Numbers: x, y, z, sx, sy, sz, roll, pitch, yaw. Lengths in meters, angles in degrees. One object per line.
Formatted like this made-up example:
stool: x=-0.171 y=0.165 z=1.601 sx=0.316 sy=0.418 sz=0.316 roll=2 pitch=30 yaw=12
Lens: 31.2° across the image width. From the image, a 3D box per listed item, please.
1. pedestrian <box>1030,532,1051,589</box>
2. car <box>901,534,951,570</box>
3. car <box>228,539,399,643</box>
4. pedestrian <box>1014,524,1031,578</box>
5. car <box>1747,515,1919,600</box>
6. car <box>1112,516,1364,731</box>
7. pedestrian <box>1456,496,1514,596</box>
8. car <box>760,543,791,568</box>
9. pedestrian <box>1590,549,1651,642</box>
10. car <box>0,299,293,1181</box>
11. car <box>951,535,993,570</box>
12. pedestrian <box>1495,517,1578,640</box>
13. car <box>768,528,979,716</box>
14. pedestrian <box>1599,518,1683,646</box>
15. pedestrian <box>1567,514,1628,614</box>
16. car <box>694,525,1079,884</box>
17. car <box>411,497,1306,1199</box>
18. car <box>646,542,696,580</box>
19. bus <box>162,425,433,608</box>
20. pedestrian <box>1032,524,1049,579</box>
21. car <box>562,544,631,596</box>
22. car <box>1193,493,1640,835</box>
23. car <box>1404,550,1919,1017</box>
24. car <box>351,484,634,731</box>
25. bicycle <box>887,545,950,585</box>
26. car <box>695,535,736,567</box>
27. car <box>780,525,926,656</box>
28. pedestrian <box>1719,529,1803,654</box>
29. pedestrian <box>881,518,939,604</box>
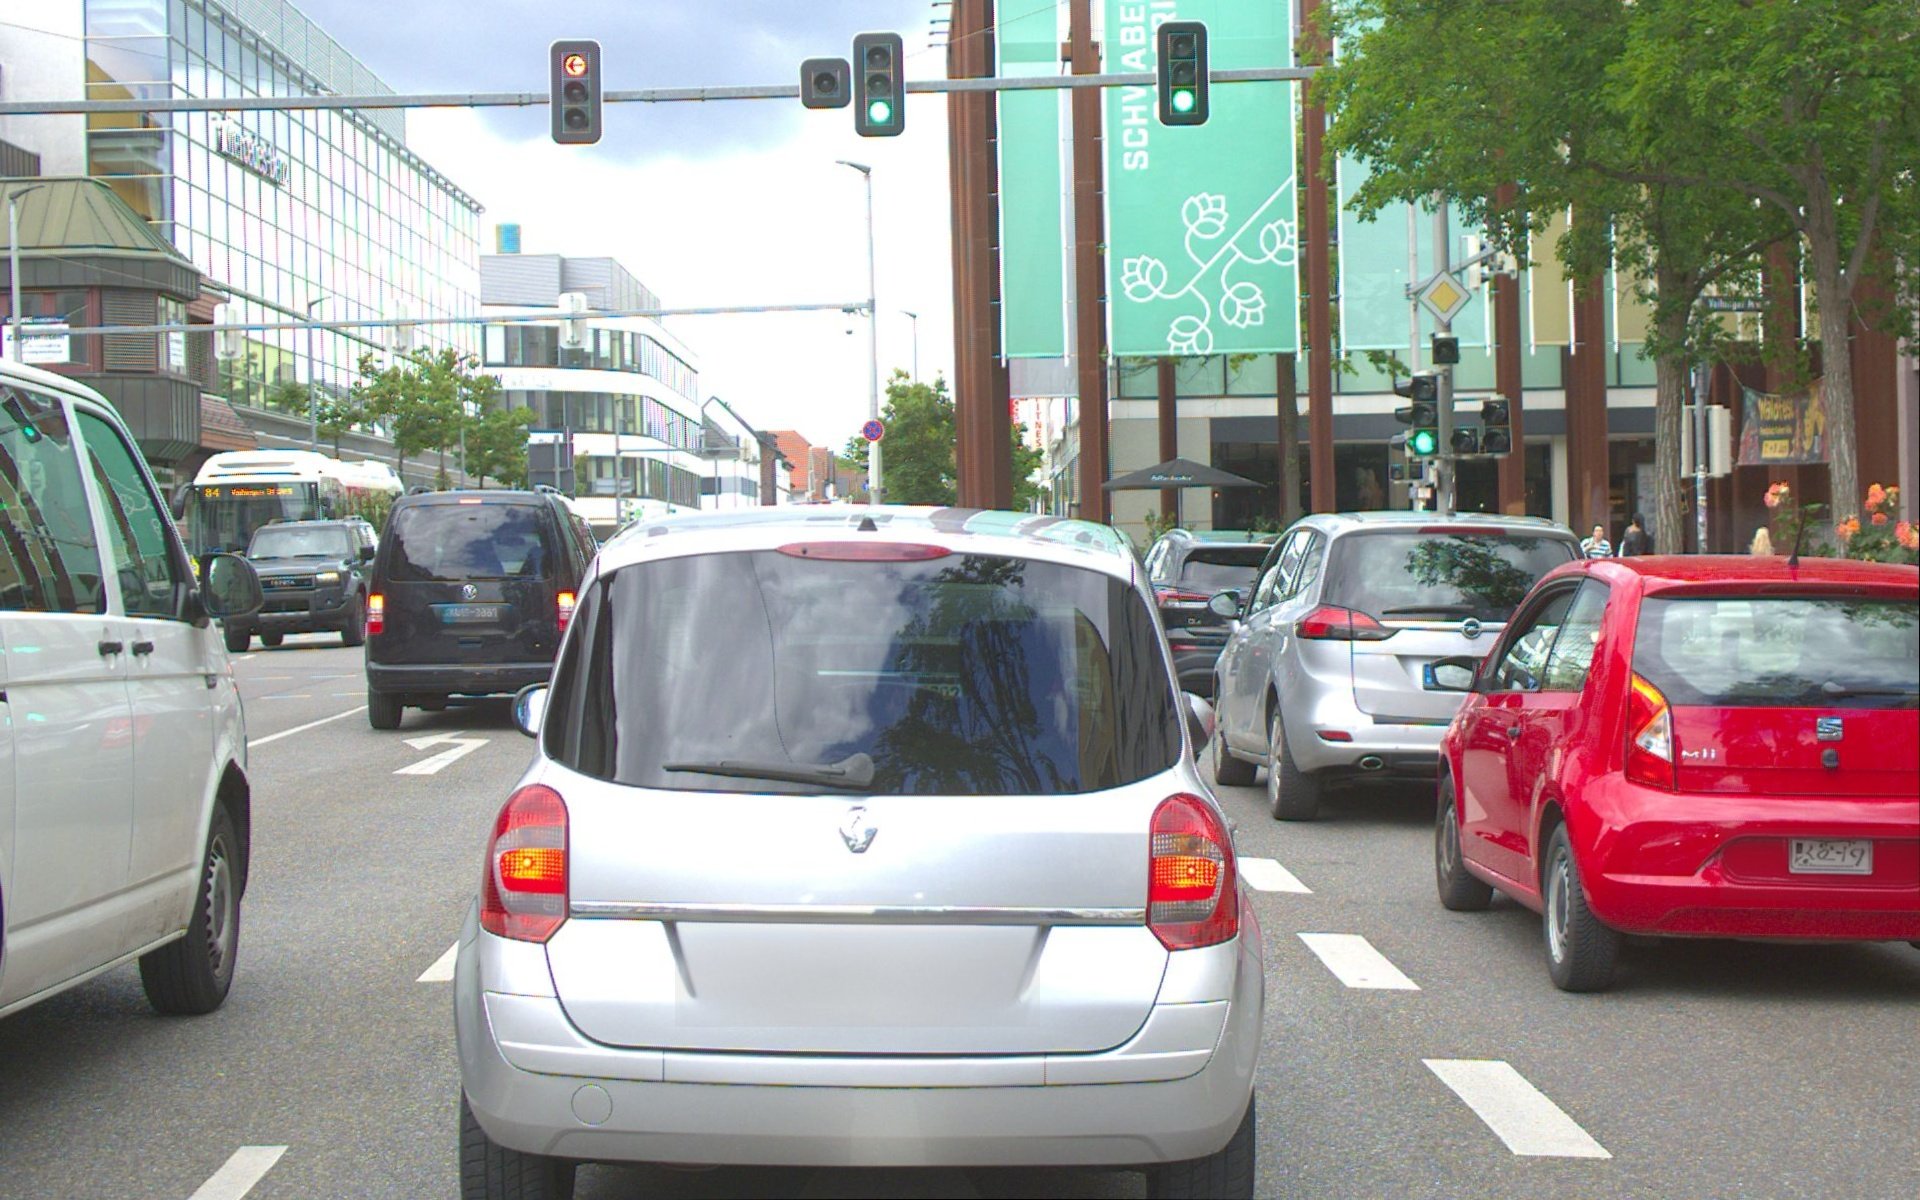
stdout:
pedestrian: x=1.747 y=-0.864 z=74.541 sx=0.447 sy=1.216 sz=0.606 roll=-1 pitch=1 yaw=2
car: x=-1.298 y=-1.846 z=132.350 sx=1.877 sy=1.330 sz=4.000 roll=1 pitch=1 yaw=0
car: x=-9.478 y=-0.151 z=50.658 sx=1.759 sy=1.443 sz=4.036 roll=-1 pitch=1 yaw=0
pedestrian: x=1.804 y=-1.402 z=98.769 sx=0.427 sy=1.544 sz=0.481 roll=-1 pitch=1 yaw=-2
car: x=15.455 y=-0.718 z=57.434 sx=4.172 sy=1.399 sz=1.801 roll=0 pitch=1 yaw=-3
car: x=2.327 y=0.146 z=29.761 sx=1.739 sy=1.695 sz=4.381 roll=1 pitch=1 yaw=-1
pedestrian: x=8.737 y=-0.904 z=57.220 sx=0.741 sy=1.620 sz=0.954 roll=-1 pitch=1 yaw=-4
car: x=-11.337 y=-2.752 z=211.704 sx=1.660 sy=1.460 sz=4.000 roll=-2 pitch=1 yaw=0
pedestrian: x=11.407 y=-0.086 z=59.413 sx=0.821 sy=1.589 sz=1.039 roll=-1 pitch=1 yaw=-1
car: x=-3.187 y=0.288 z=8.958 sx=1.993 sy=2.007 sz=4.840 roll=1 pitch=1 yaw=-1
car: x=0.543 y=-2.178 z=158.185 sx=1.877 sy=1.559 sz=4.000 roll=1 pitch=1 yaw=0
pedestrian: x=8.017 y=-0.312 z=47.839 sx=0.878 sy=1.675 sz=1.120 roll=-1 pitch=1 yaw=-3
car: x=-0.719 y=0.139 z=29.522 sx=1.669 sy=1.490 sz=3.642 roll=1 pitch=1 yaw=-1
pedestrian: x=9.534 y=-0.257 z=48.164 sx=0.878 sy=1.761 sz=1.120 roll=-1 pitch=1 yaw=-3
pedestrian: x=10.522 y=-0.603 z=56.748 sx=0.741 sy=1.620 sz=0.954 roll=-1 pitch=1 yaw=-4
car: x=-0.343 y=0.425 z=16.956 sx=1.669 sy=1.549 sz=3.642 roll=1 pitch=1 yaw=-1
car: x=-0.216 y=0.558 z=8.324 sx=1.669 sy=1.549 sz=3.642 roll=1 pitch=1 yaw=-1
car: x=-11.650 y=-1.579 z=138.998 sx=1.660 sy=1.460 sz=4.000 roll=-2 pitch=1 yaw=0
bus: x=-13.597 y=-1.744 z=71.844 sx=2.987 sy=3.316 sz=12.307 roll=-3 pitch=1 yaw=1
pedestrian: x=2.319 y=-1.397 z=98.915 sx=0.427 sy=1.544 sz=0.481 roll=-1 pitch=1 yaw=-2
car: x=-10.968 y=-0.931 z=103.916 sx=1.660 sy=1.460 sz=4.000 roll=-2 pitch=1 yaw=0
car: x=2.451 y=0.278 z=19.511 sx=1.739 sy=1.695 sz=4.381 roll=1 pitch=1 yaw=-3
car: x=2.726 y=0.562 z=12.734 sx=1.626 sy=1.443 sz=3.642 roll=1 pitch=1 yaw=-1
car: x=-3.718 y=0.012 z=28.010 sx=1.707 sy=1.814 sz=4.572 roll=1 pitch=1 yaw=-1
bicycle: x=-1.055 y=-0.908 z=88.071 sx=1.561 sy=0.989 sz=0.752 roll=-1 pitch=1 yaw=3
car: x=-11.597 y=-2.327 z=163.202 sx=1.660 sy=1.460 sz=4.000 roll=-2 pitch=1 yaw=0
car: x=-1.271 y=-0.148 z=41.972 sx=1.669 sy=1.490 sz=3.642 roll=1 pitch=1 yaw=-1
pedestrian: x=11.580 y=-0.131 z=49.733 sx=0.878 sy=1.761 sz=1.120 roll=-1 pitch=1 yaw=-3
pedestrian: x=-0.970 y=-0.752 z=66.616 sx=0.871 sy=1.641 sz=0.679 roll=0 pitch=2 yaw=34
